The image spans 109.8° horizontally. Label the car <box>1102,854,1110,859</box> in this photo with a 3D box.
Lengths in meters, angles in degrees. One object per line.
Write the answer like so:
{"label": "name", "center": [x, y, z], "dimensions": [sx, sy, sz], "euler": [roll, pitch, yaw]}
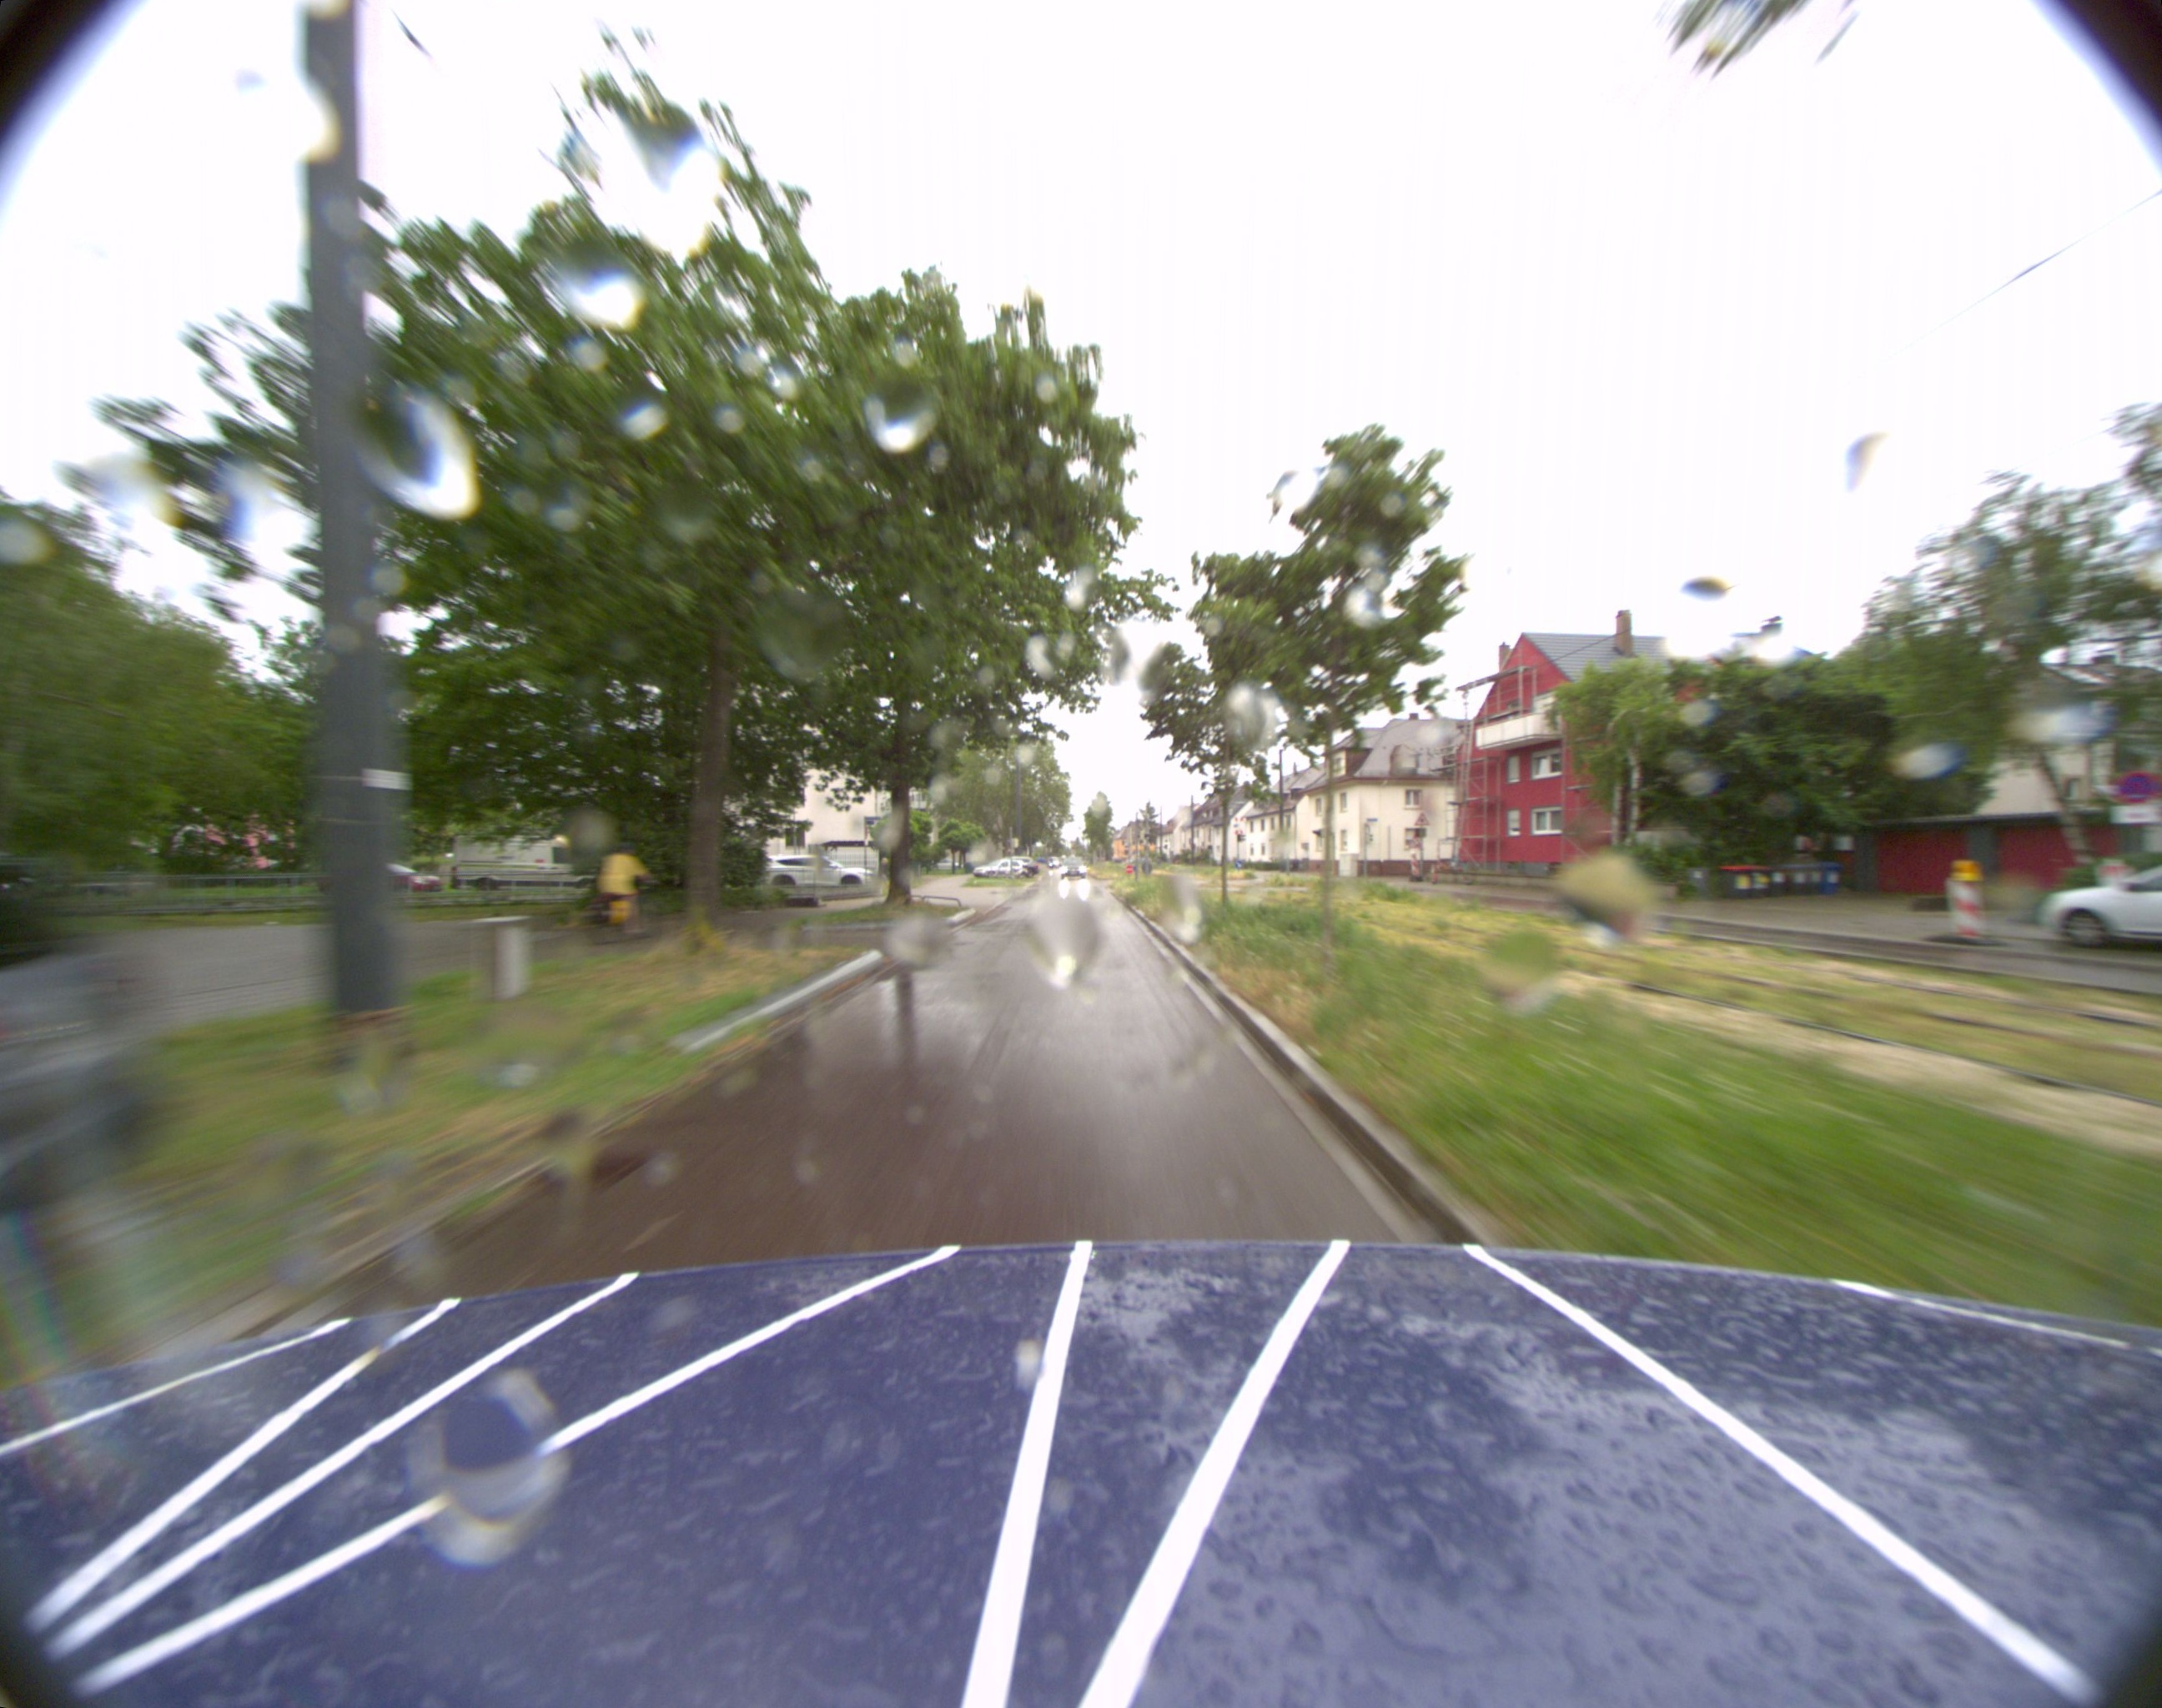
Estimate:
{"label": "car", "center": [7.548, 0.712, 227.328], "dimensions": [1.886, 1.423, 4.076], "euler": [0, 0, -4]}

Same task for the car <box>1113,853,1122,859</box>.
{"label": "car", "center": [9.781, 0.556, 203.166], "dimensions": [1.999, 1.648, 3.999], "euler": [-1, 0, -1]}

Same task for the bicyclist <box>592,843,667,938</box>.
{"label": "bicyclist", "center": [-7.780, 0.610, 13.136], "dimensions": [0.736, 1.584, 0.944], "euler": [0, 0, 0]}

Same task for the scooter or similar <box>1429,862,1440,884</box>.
{"label": "scooter or similar", "center": [18.702, 0.990, 40.199], "dimensions": [0.440, 1.123, 1.285], "euler": [0, 1, 30]}

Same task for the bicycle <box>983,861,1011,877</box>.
{"label": "bicycle", "center": [-5.882, 1.064, 53.373], "dimensions": [0.627, 1.095, 1.961], "euler": [1, 0, 44]}

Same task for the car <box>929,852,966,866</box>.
{"label": "car", "center": [-16.660, 0.590, 94.937], "dimensions": [4.304, 1.671, 1.871], "euler": [0, 1, 1]}

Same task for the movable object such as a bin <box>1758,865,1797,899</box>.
{"label": "movable object such as a bin", "center": [22.673, 0.918, 24.757], "dimensions": [0.561, 1.075, 0.758], "euler": [0, 0, 1]}

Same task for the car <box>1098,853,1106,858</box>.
{"label": "car", "center": [6.659, 0.504, 235.848], "dimensions": [2.097, 1.423, 4.076], "euler": [0, 0, -4]}

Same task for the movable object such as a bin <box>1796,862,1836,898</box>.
{"label": "movable object such as a bin", "center": [23.990, 0.842, 24.802], "dimensions": [0.561, 1.132, 0.758], "euler": [0, 0, 1]}

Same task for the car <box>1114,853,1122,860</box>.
{"label": "car", "center": [9.442, 0.627, 194.237], "dimensions": [1.882, 1.520, 3.999], "euler": [0, 0, -3]}

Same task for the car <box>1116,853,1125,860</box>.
{"label": "car", "center": [9.929, 0.645, 189.576], "dimensions": [1.912, 1.581, 3.999], "euler": [0, 0, -3]}

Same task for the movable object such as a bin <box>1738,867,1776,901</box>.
{"label": "movable object such as a bin", "center": [22.027, 0.974, 24.763], "dimensions": [0.561, 1.075, 0.758], "euler": [0, 0, 1]}

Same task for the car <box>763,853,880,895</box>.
{"label": "car", "center": [-11.519, 0.858, 34.118], "dimensions": [4.821, 1.735, 1.997], "euler": [0, 0, -15]}

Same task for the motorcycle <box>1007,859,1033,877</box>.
{"label": "motorcycle", "center": [-4.390, 1.011, 54.697], "dimensions": [1.783, 1.329, 0.687], "euler": [1, 0, -37]}

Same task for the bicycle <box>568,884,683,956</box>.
{"label": "bicycle", "center": [-7.774, 1.092, 13.096], "dimensions": [0.736, 1.050, 2.051], "euler": [0, 0, 0]}

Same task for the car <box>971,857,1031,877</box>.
{"label": "car", "center": [-5.922, 0.951, 56.576], "dimensions": [4.133, 1.414, 1.734], "euler": [1, 0, -37]}

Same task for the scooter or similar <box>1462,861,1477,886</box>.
{"label": "scooter or similar", "center": [18.984, 0.950, 37.175], "dimensions": [0.394, 1.173, 1.284], "euler": [0, 1, 15]}

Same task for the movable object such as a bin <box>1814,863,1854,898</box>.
{"label": "movable object such as a bin", "center": [24.574, 0.857, 24.806], "dimensions": [0.561, 1.132, 0.758], "euler": [0, 0, 1]}

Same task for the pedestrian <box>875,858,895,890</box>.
{"label": "pedestrian", "center": [-10.053, 1.014, 38.939], "dimensions": [0.841, 1.561, 0.812], "euler": [-1, 1, -28]}

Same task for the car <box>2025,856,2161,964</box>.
{"label": "car", "center": [17.015, 0.846, 10.804], "dimensions": [1.714, 1.533, 4.422], "euler": [-3, 0, 2]}

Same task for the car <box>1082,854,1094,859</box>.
{"label": "car", "center": [2.392, 0.700, 253.751], "dimensions": [3.999, 1.637, 1.893], "euler": [1, 0, -6]}

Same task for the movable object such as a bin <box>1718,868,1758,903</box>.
{"label": "movable object such as a bin", "center": [21.393, 1.018, 24.758], "dimensions": [0.645, 1.085, 0.757], "euler": [0, 0, 0]}

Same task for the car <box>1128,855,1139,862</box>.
{"label": "car", "center": [11.172, 0.946, 161.901], "dimensions": [1.715, 1.432, 3.998], "euler": [1, 0, -4]}

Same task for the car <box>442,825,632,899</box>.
{"label": "car", "center": [-22.666, 0.294, 31.979], "dimensions": [6.079, 2.946, 2.127], "euler": [0, 1, -15]}

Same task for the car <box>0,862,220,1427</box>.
{"label": "car", "center": [-5.260, 0.832, 1.565], "dimensions": [4.156, 1.709, 1.995], "euler": [3, -1, -31]}

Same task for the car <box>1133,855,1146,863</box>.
{"label": "car", "center": [11.589, 0.888, 150.729], "dimensions": [1.892, 1.522, 4.755], "euler": [1, 0, -4]}

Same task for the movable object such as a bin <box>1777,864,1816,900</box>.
{"label": "movable object such as a bin", "center": [23.337, 0.913, 24.788], "dimensions": [0.561, 1.132, 0.758], "euler": [0, 0, 1]}

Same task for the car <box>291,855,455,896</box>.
{"label": "car", "center": [-28.149, 0.826, 30.389], "dimensions": [4.419, 1.517, 1.905], "euler": [0, 0, -13]}

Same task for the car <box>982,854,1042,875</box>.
{"label": "car", "center": [-5.473, 0.831, 60.274], "dimensions": [4.358, 1.641, 1.853], "euler": [0, 0, -33]}

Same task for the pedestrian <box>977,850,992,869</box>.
{"label": "pedestrian", "center": [-9.456, 0.518, 74.755], "dimensions": [1.101, 1.803, 1.434], "euler": [0, 0, 9]}

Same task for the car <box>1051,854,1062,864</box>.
{"label": "car", "center": [-3.777, 0.828, 117.532], "dimensions": [1.563, 1.510, 3.998], "euler": [0, 0, -3]}
